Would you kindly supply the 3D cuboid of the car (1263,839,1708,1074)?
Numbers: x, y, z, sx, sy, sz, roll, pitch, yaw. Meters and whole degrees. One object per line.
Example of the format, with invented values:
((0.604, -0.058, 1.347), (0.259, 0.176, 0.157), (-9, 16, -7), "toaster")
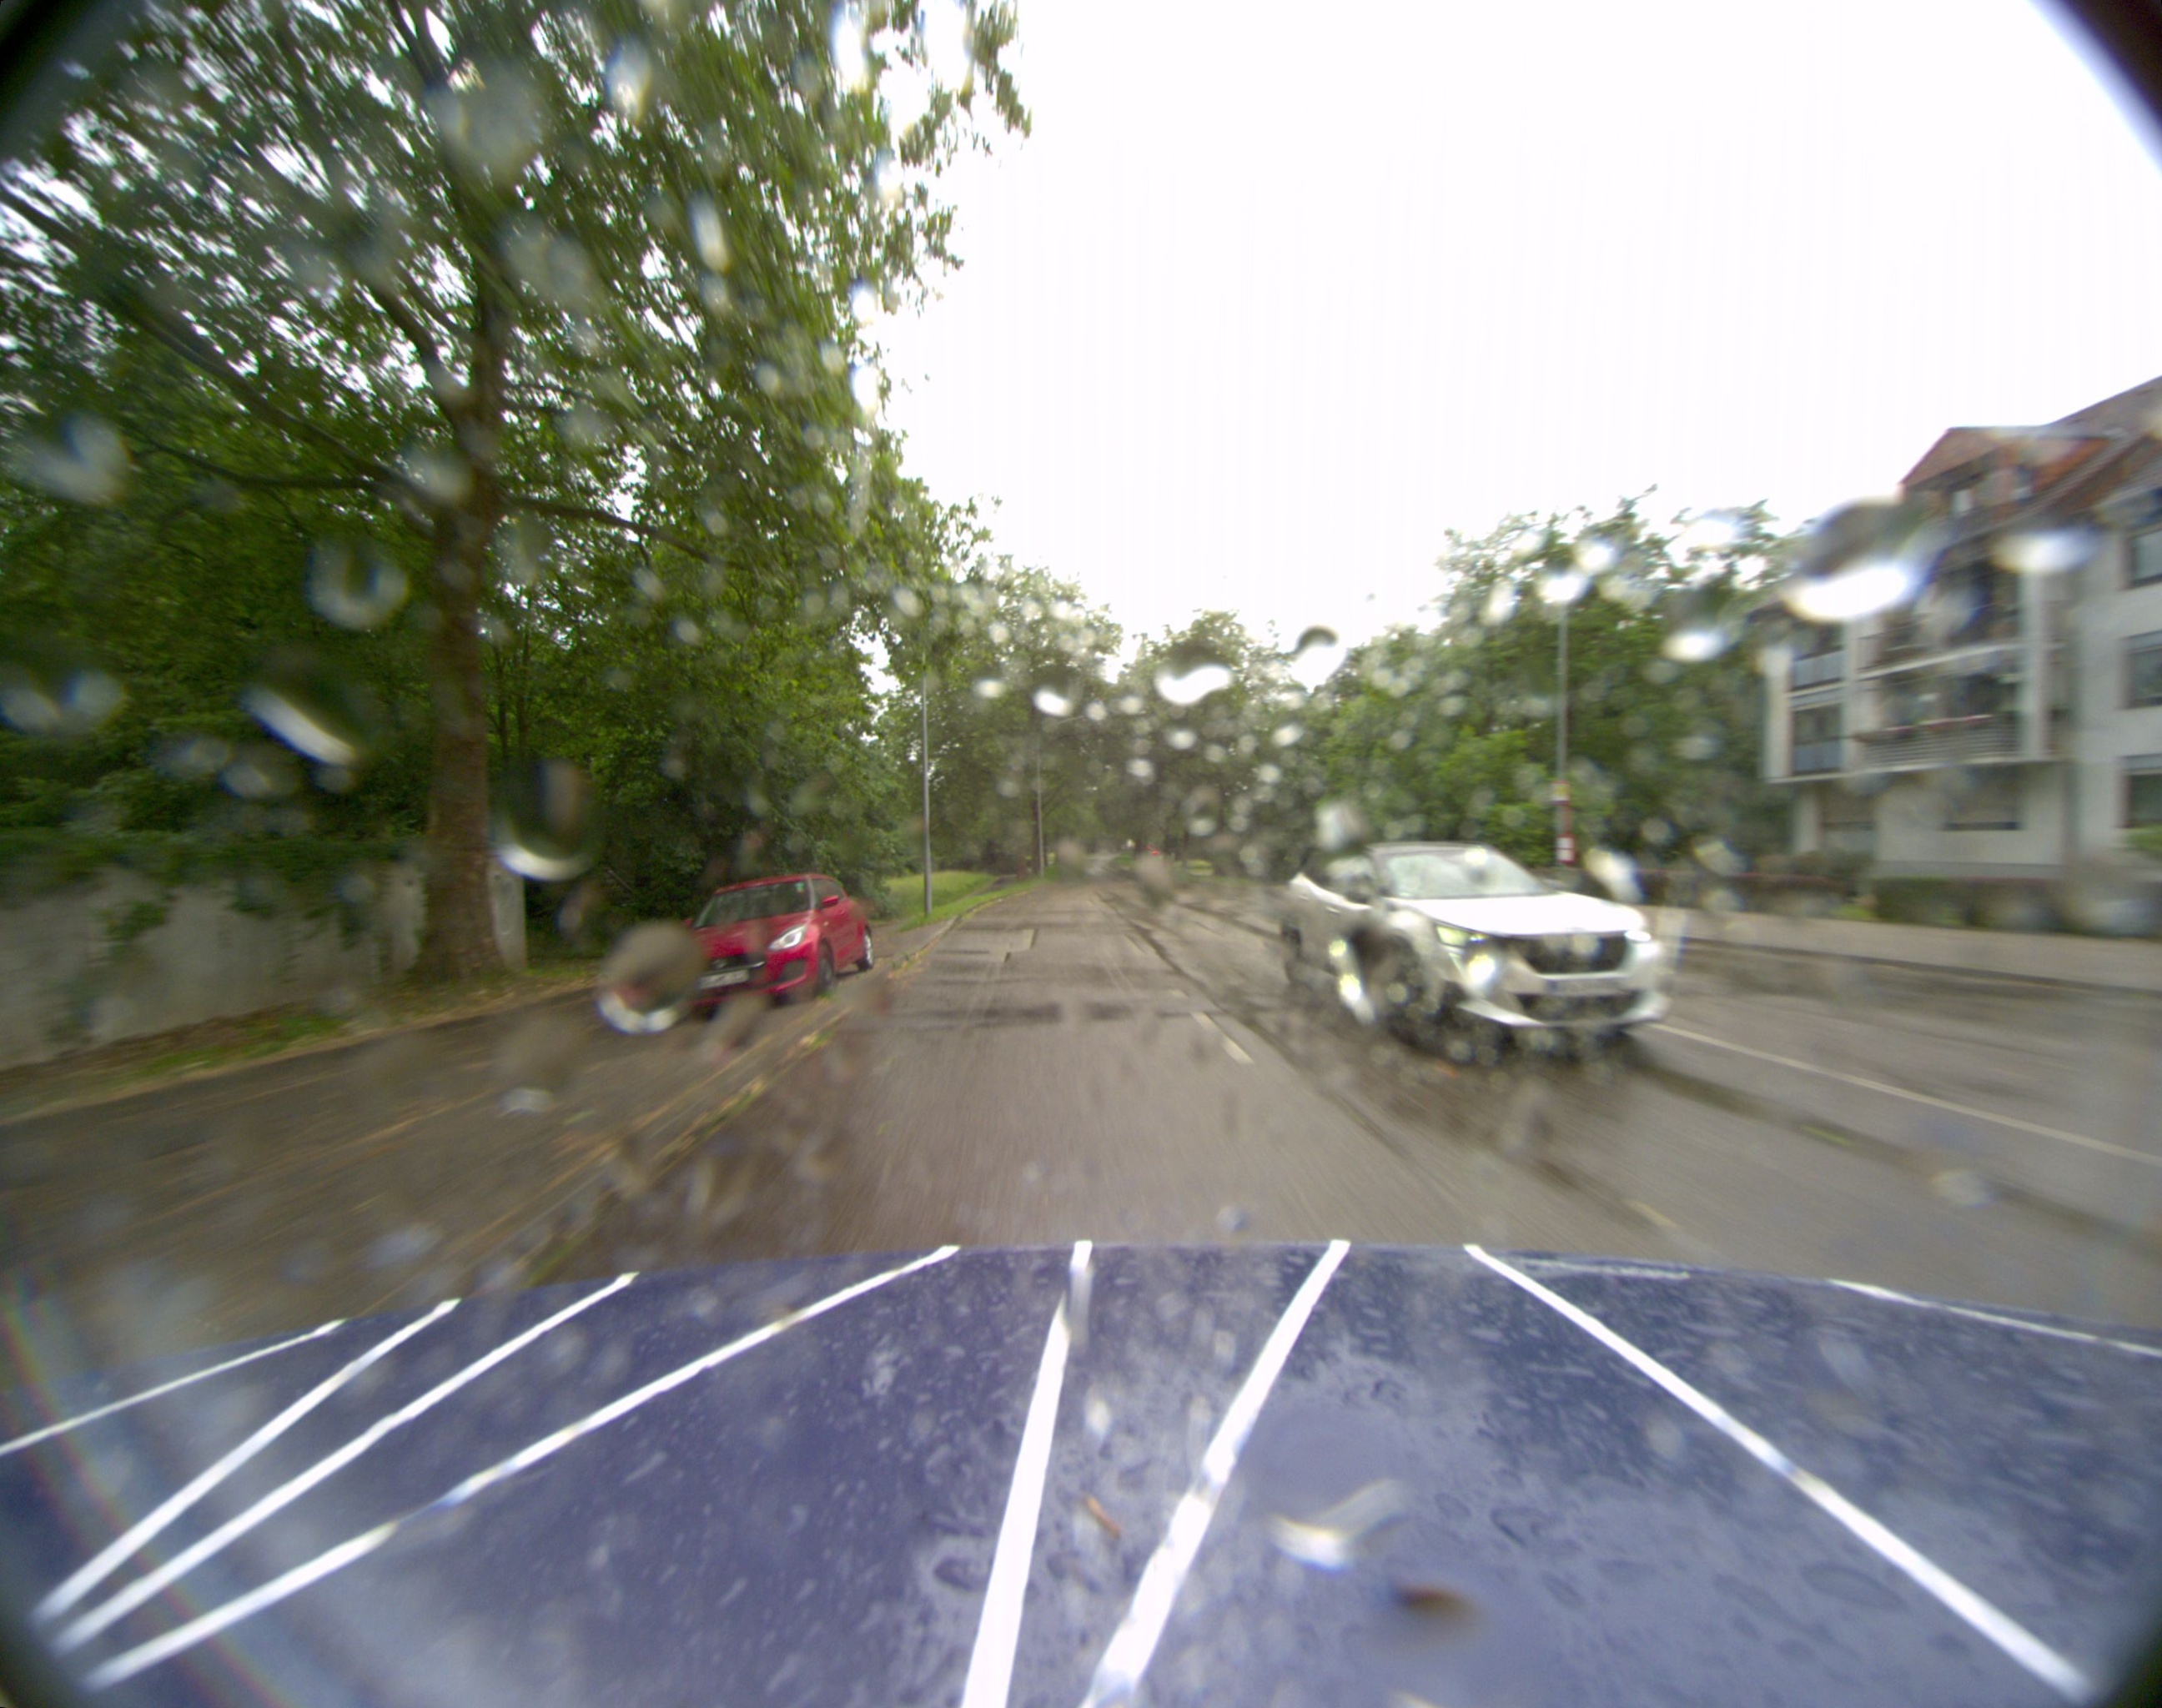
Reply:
((3.173, 0.660, 7.154), (1.757, 1.527, 4.366), (0, 0, -2), "car")

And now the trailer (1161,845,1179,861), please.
((15.936, -0.180, 135.848), (2.804, 2.649, 6.652), (0, 2, 3), "trailer")

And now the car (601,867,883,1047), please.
((-3.812, 1.052, 9.347), (1.824, 1.508, 3.742), (-8, -1, -4), "car")
